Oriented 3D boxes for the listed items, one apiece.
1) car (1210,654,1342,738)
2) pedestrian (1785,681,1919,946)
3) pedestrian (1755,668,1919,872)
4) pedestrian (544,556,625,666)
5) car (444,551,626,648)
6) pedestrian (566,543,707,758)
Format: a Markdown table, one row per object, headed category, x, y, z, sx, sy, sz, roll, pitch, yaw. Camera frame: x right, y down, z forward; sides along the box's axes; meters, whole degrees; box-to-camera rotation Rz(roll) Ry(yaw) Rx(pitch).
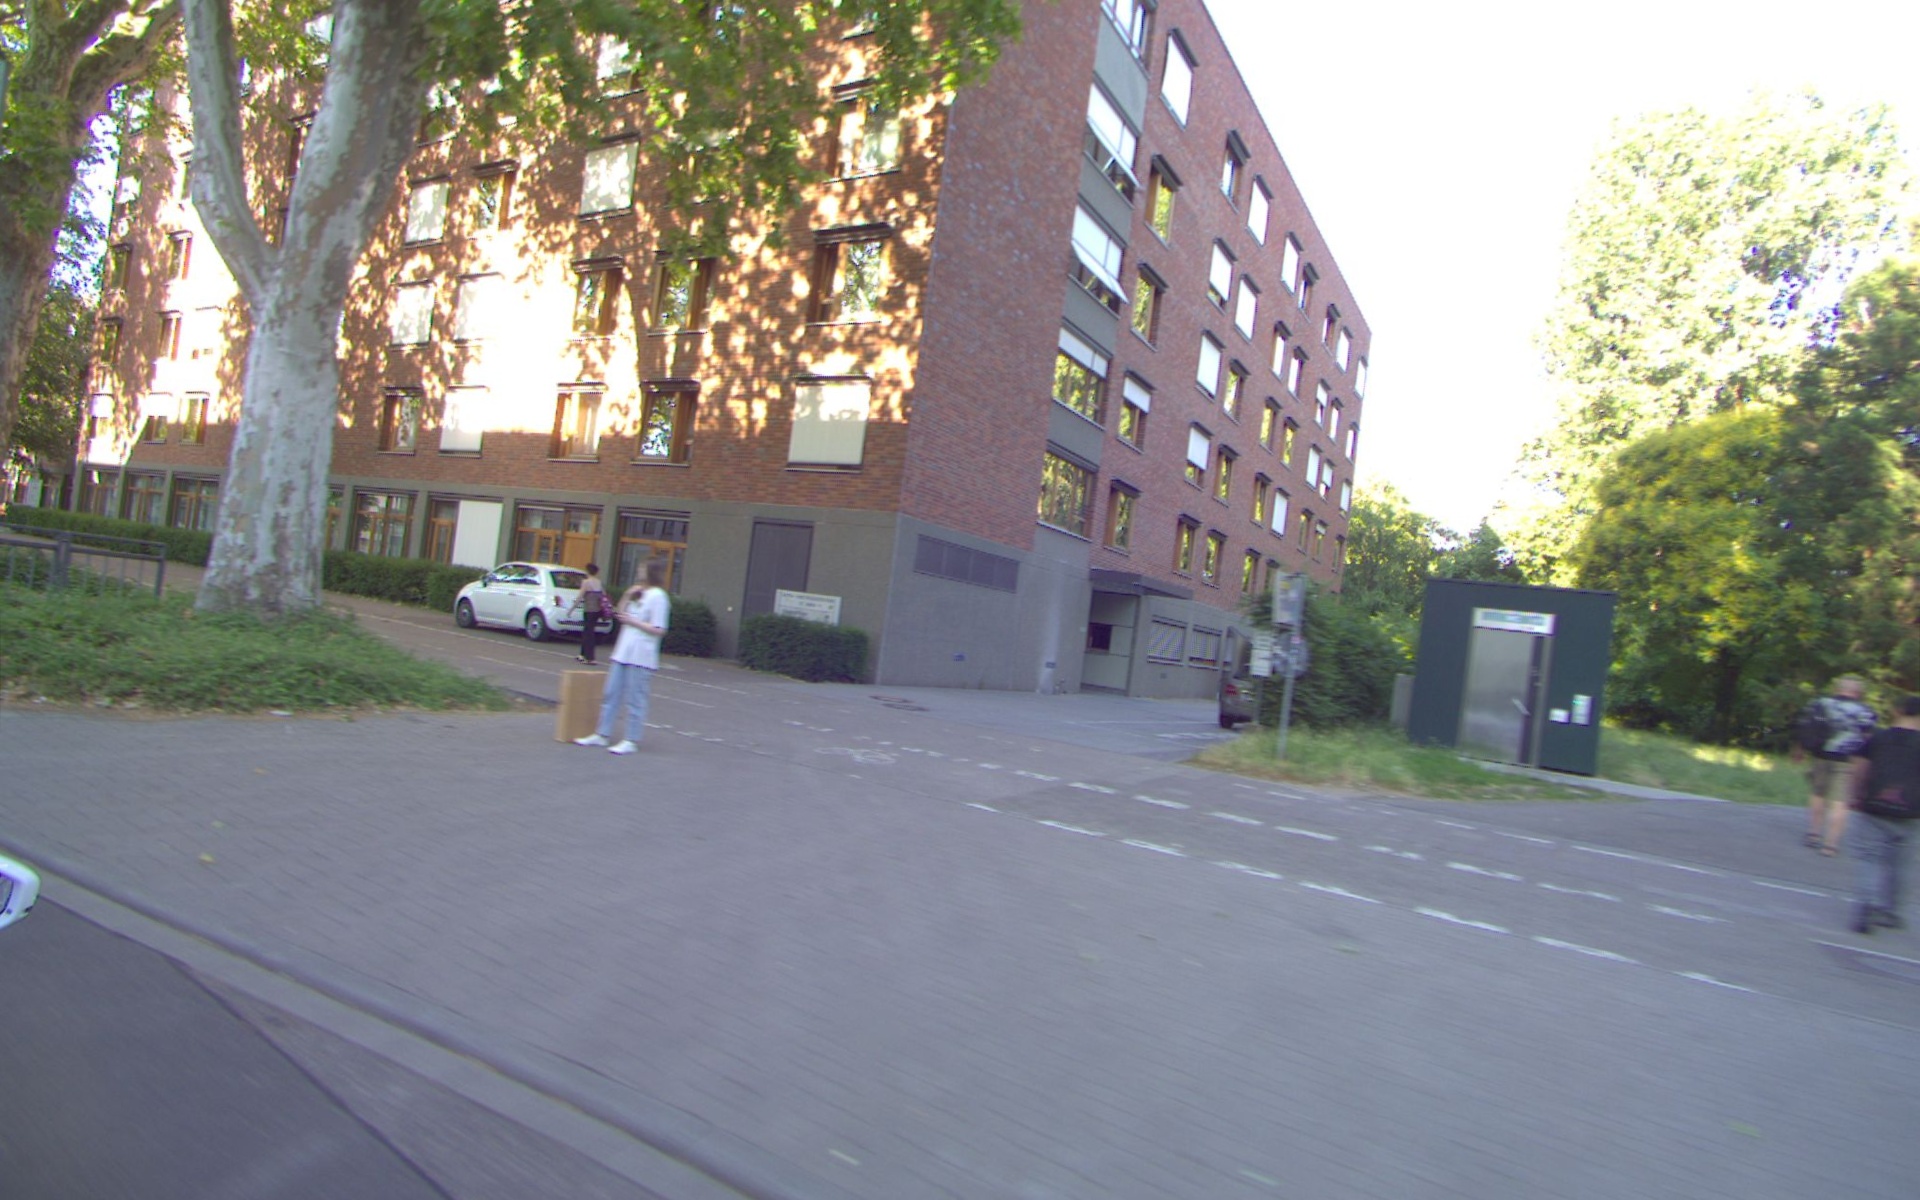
| category | x | y | z | sx | sy | sz | roll | pitch | yaw |
| --- | --- | --- | --- | --- | --- | --- | --- | --- | --- |
| car | 7.484 | 2.275 | 23.593 | 1.764 | 1.583 | 3.992 | 7 | -2 | 34 |
| pedestrian | 7.103 | 1.592 | 7.699 | 0.849 | 1.833 | 0.997 | 7 | 0 | 27 |
| pedestrian | 9.320 | 1.746 | 10.688 | 0.998 | 1.889 | 0.983 | 7 | 3 | 27 |
| pedestrian | -6.177 | 0.189 | 16.559 | 0.821 | 1.689 | 0.736 | 7 | 0 | 32 |
| car | -8.643 | -0.017 | 20.420 | 3.360 | 1.513 | 1.603 | 6 | -1 | 31 |
| pedestrian | -2.743 | 0.424 | 8.546 | 0.726 | 1.689 | 0.653 | 7 | 0 | 32 |
